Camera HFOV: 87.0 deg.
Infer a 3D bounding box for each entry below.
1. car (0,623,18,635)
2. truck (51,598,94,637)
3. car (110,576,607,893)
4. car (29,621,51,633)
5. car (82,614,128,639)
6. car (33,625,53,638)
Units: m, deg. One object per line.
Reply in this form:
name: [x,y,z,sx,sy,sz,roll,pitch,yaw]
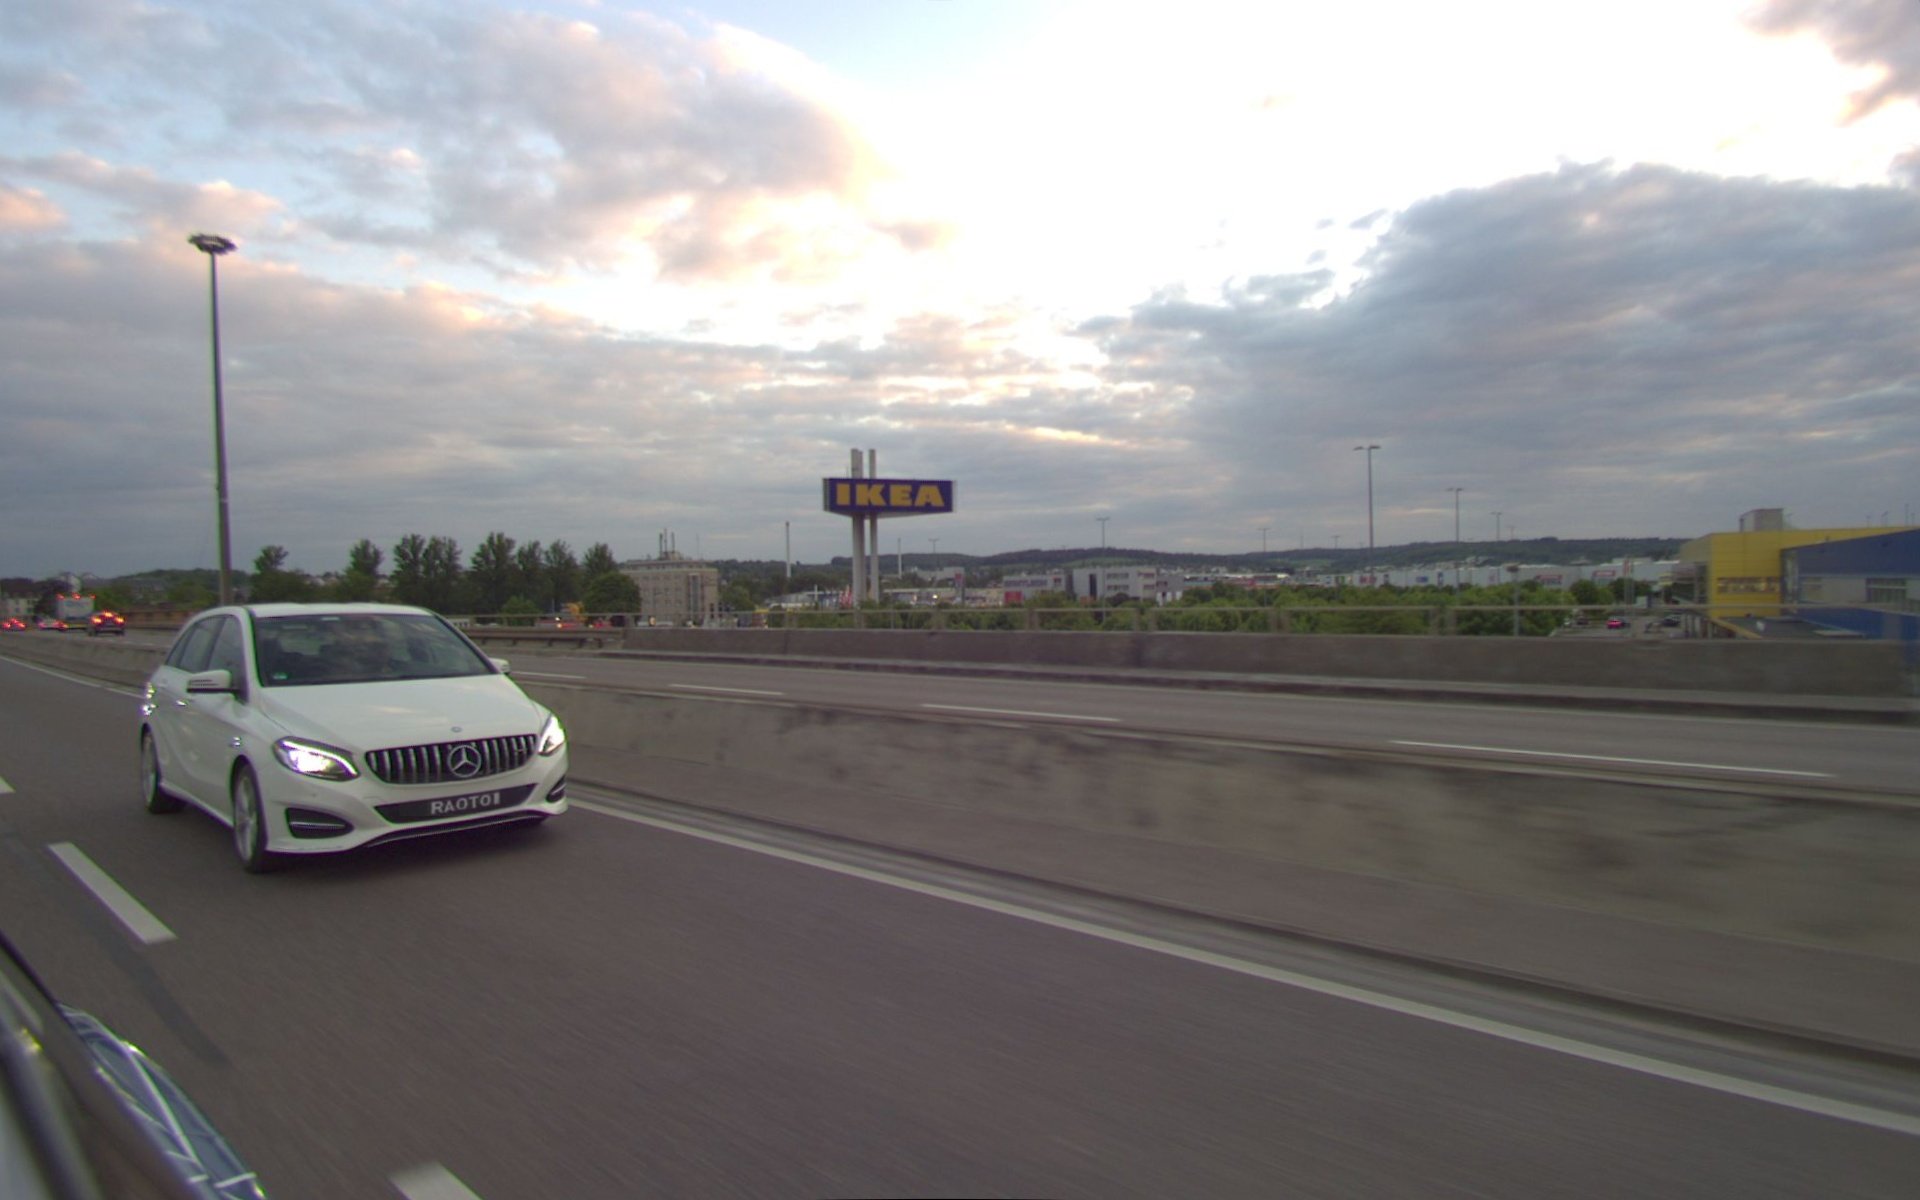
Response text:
car: [-120.038,3.690,127.663,3.836,1.452,1.611,-2,-1,43]
truck: [-79.546,1.536,90.671,2.505,3.321,7.451,-1,0,-45]
car: [-4.513,0.732,7.191,4.781,1.549,1.673,-3,-1,42]
car: [-114.962,3.387,126.494,4.819,1.514,1.810,-1,-1,45]
car: [-59.871,1.832,70.837,4.441,1.618,1.955,-1,0,43]
car: [-138.614,4.744,152.973,5.460,1.915,1.880,-1,-1,44]
